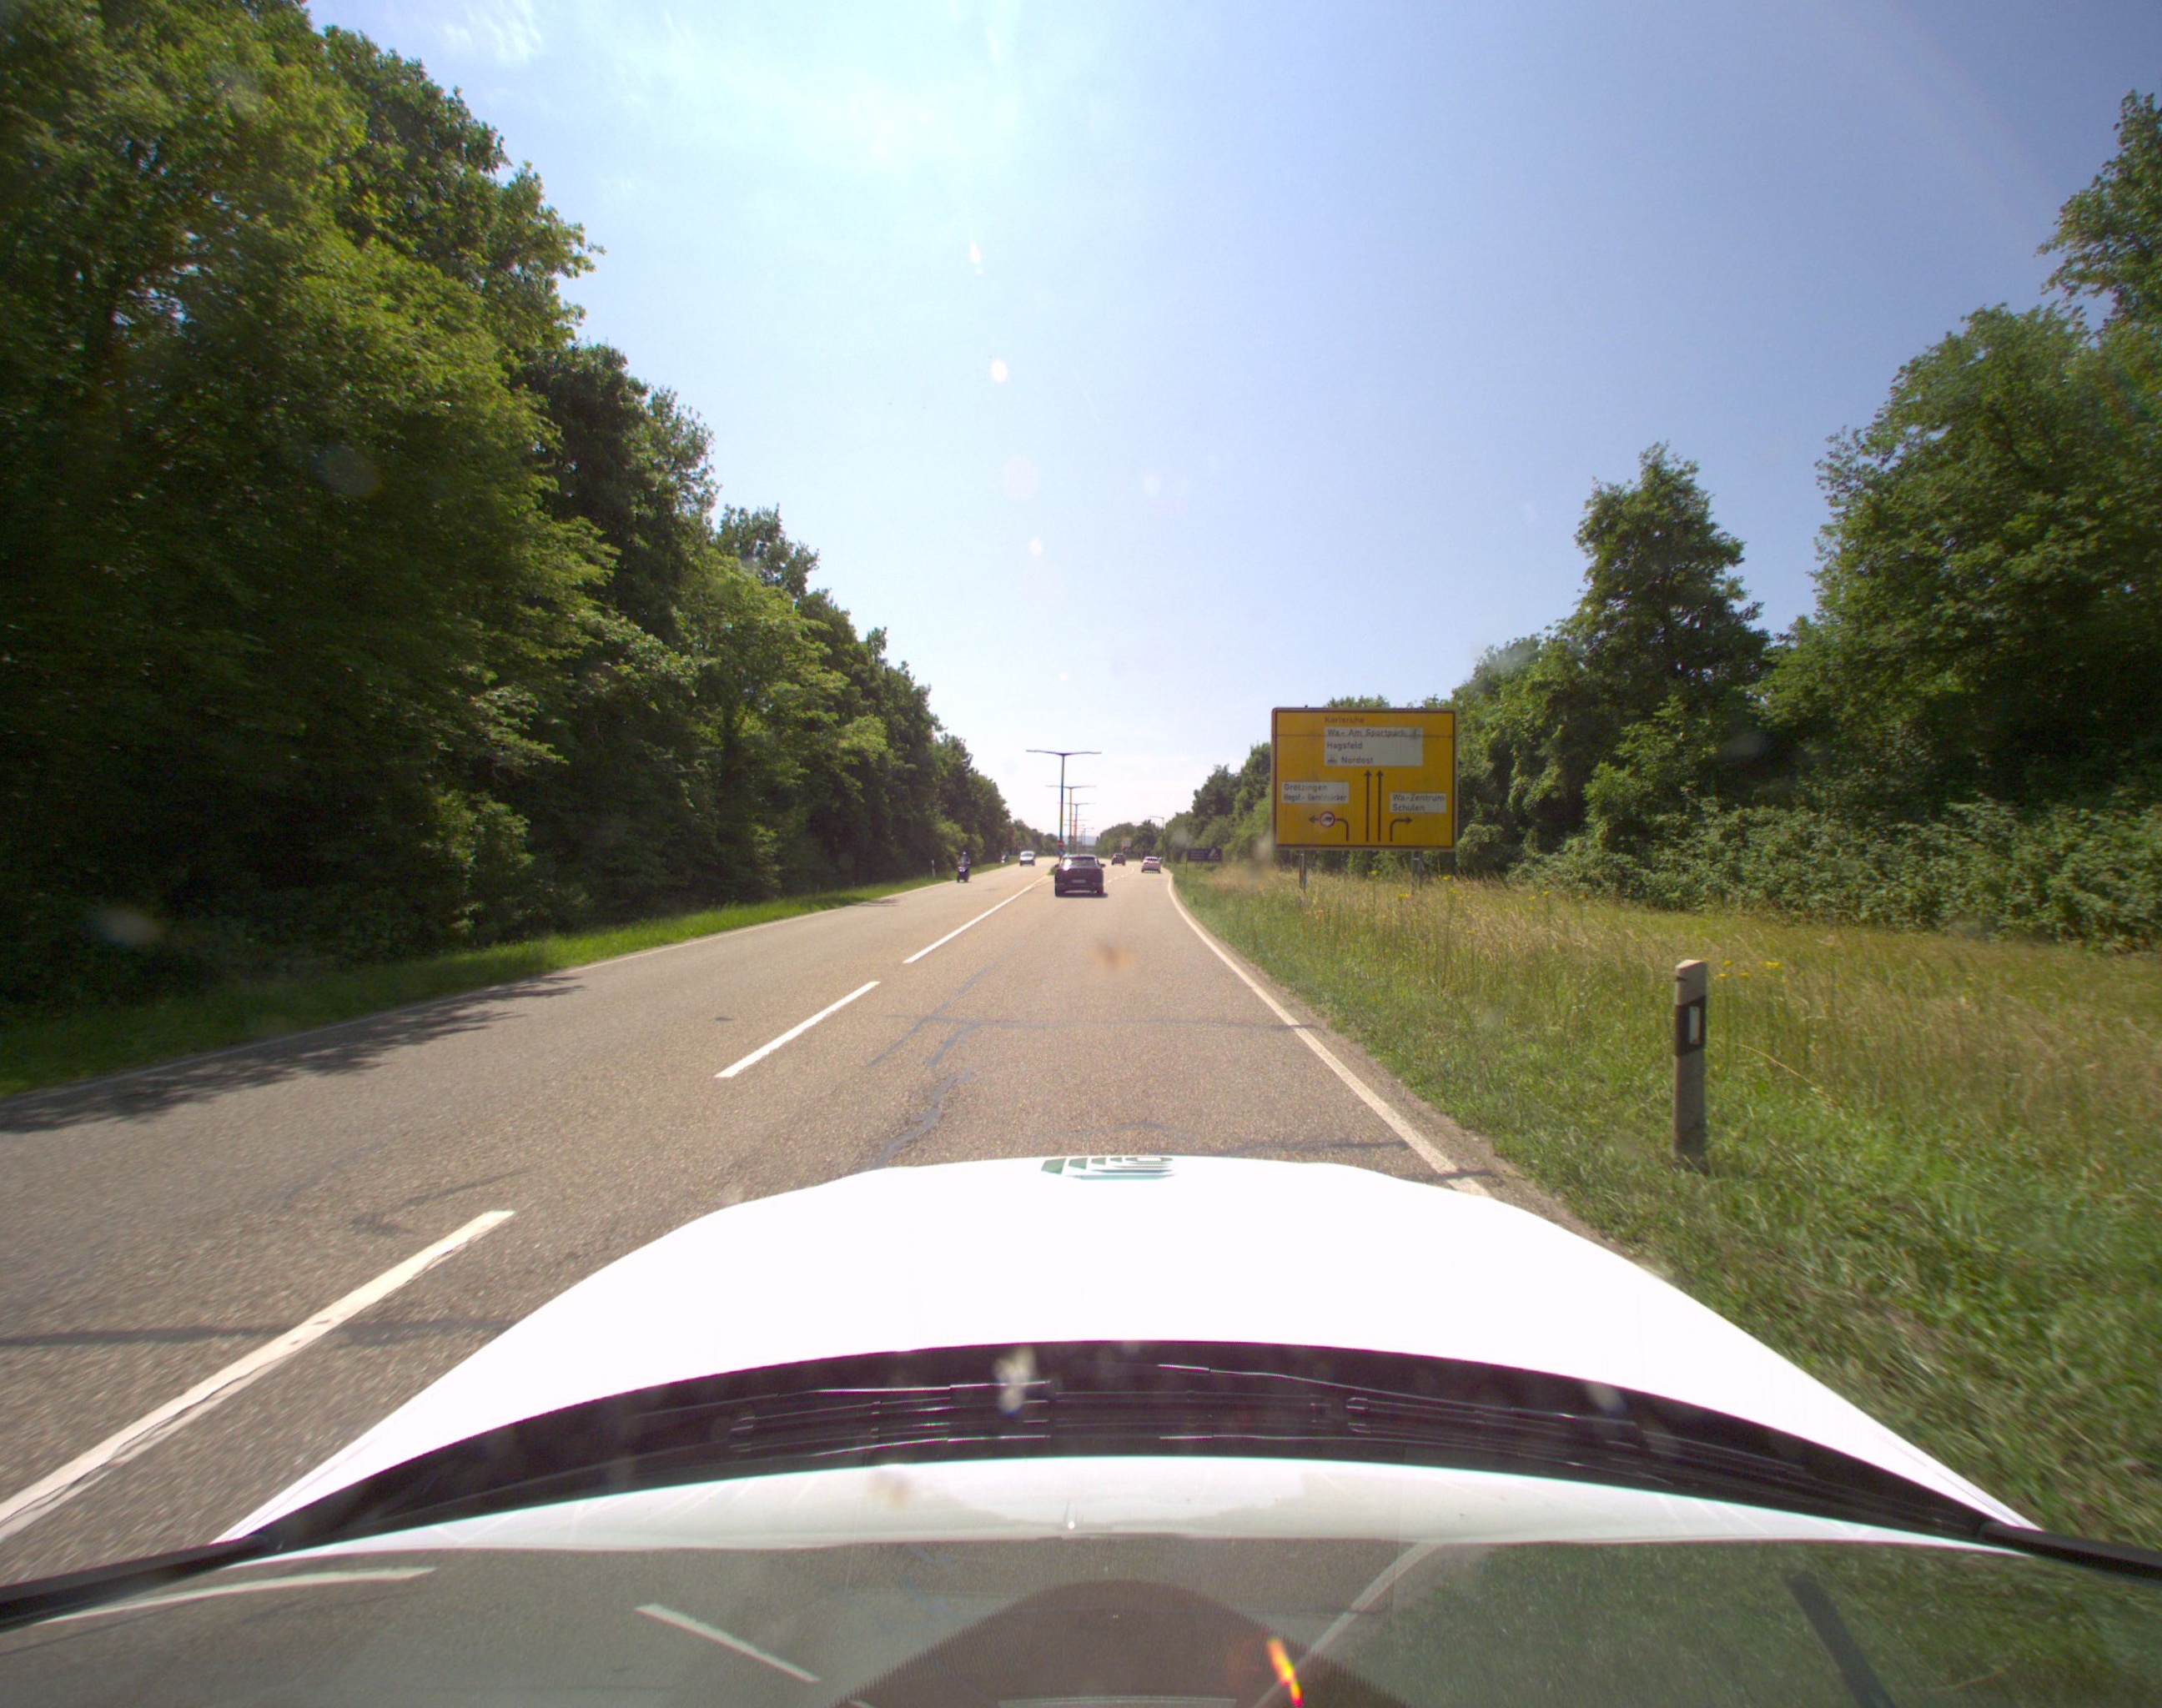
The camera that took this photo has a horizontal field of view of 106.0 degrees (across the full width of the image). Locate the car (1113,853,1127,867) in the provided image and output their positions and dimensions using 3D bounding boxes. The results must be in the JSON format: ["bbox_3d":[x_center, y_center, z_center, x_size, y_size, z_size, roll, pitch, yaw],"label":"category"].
[{"bbox_3d":[5.638,0.867,118.615,1.750,1.929,3.999,2,0,0],"label":"car"}]

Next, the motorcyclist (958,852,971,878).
[{"bbox_3d":[-6.592,0.620,46.050,0.668,1.475,0.813,0,-1,-4],"label":"motorcyclist"}]

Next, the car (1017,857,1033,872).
[{"bbox_3d":[-6.716,1.234,98.121,1.726,1.688,4.093,-1,0,-1],"label":"car"}]

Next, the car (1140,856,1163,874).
[{"bbox_3d":[6.504,0.981,75.398,1.791,1.583,4.001,-1,0,1],"label":"car"}]

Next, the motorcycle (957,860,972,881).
[{"bbox_3d":[-6.611,0.904,46.259,0.669,1.174,2.229,0,0,-3],"label":"motorcycle"}]

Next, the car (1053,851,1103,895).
[{"bbox_3d":[-0.162,0.694,30.971,1.751,1.556,3.996,1,0,-2],"label":"car"}]
